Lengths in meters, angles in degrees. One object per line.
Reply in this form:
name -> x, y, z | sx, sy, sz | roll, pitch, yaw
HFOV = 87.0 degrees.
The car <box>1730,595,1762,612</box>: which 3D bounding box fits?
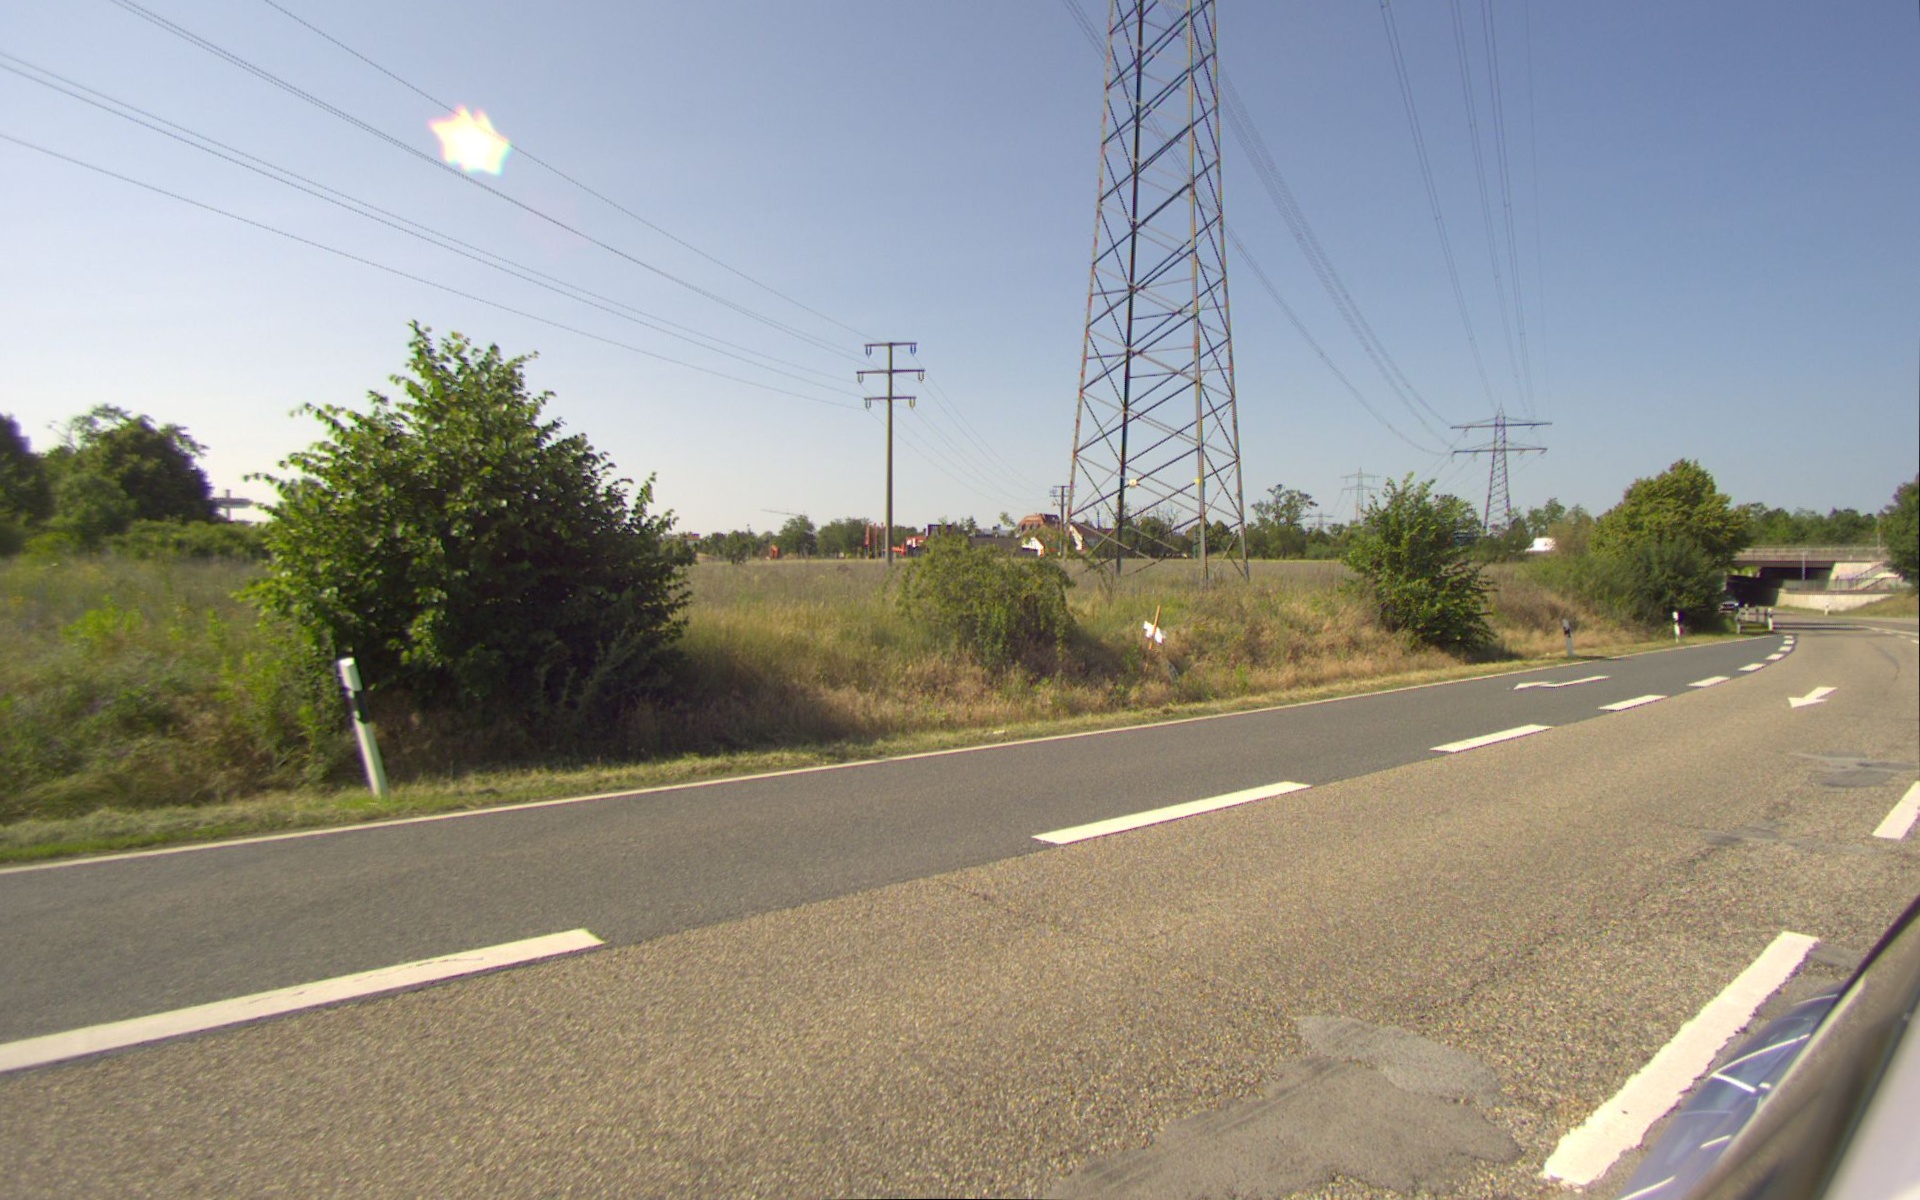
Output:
car -> 75.230, 0.331, 96.934 | 1.844, 1.639, 3.610 | 0, 0, 29
